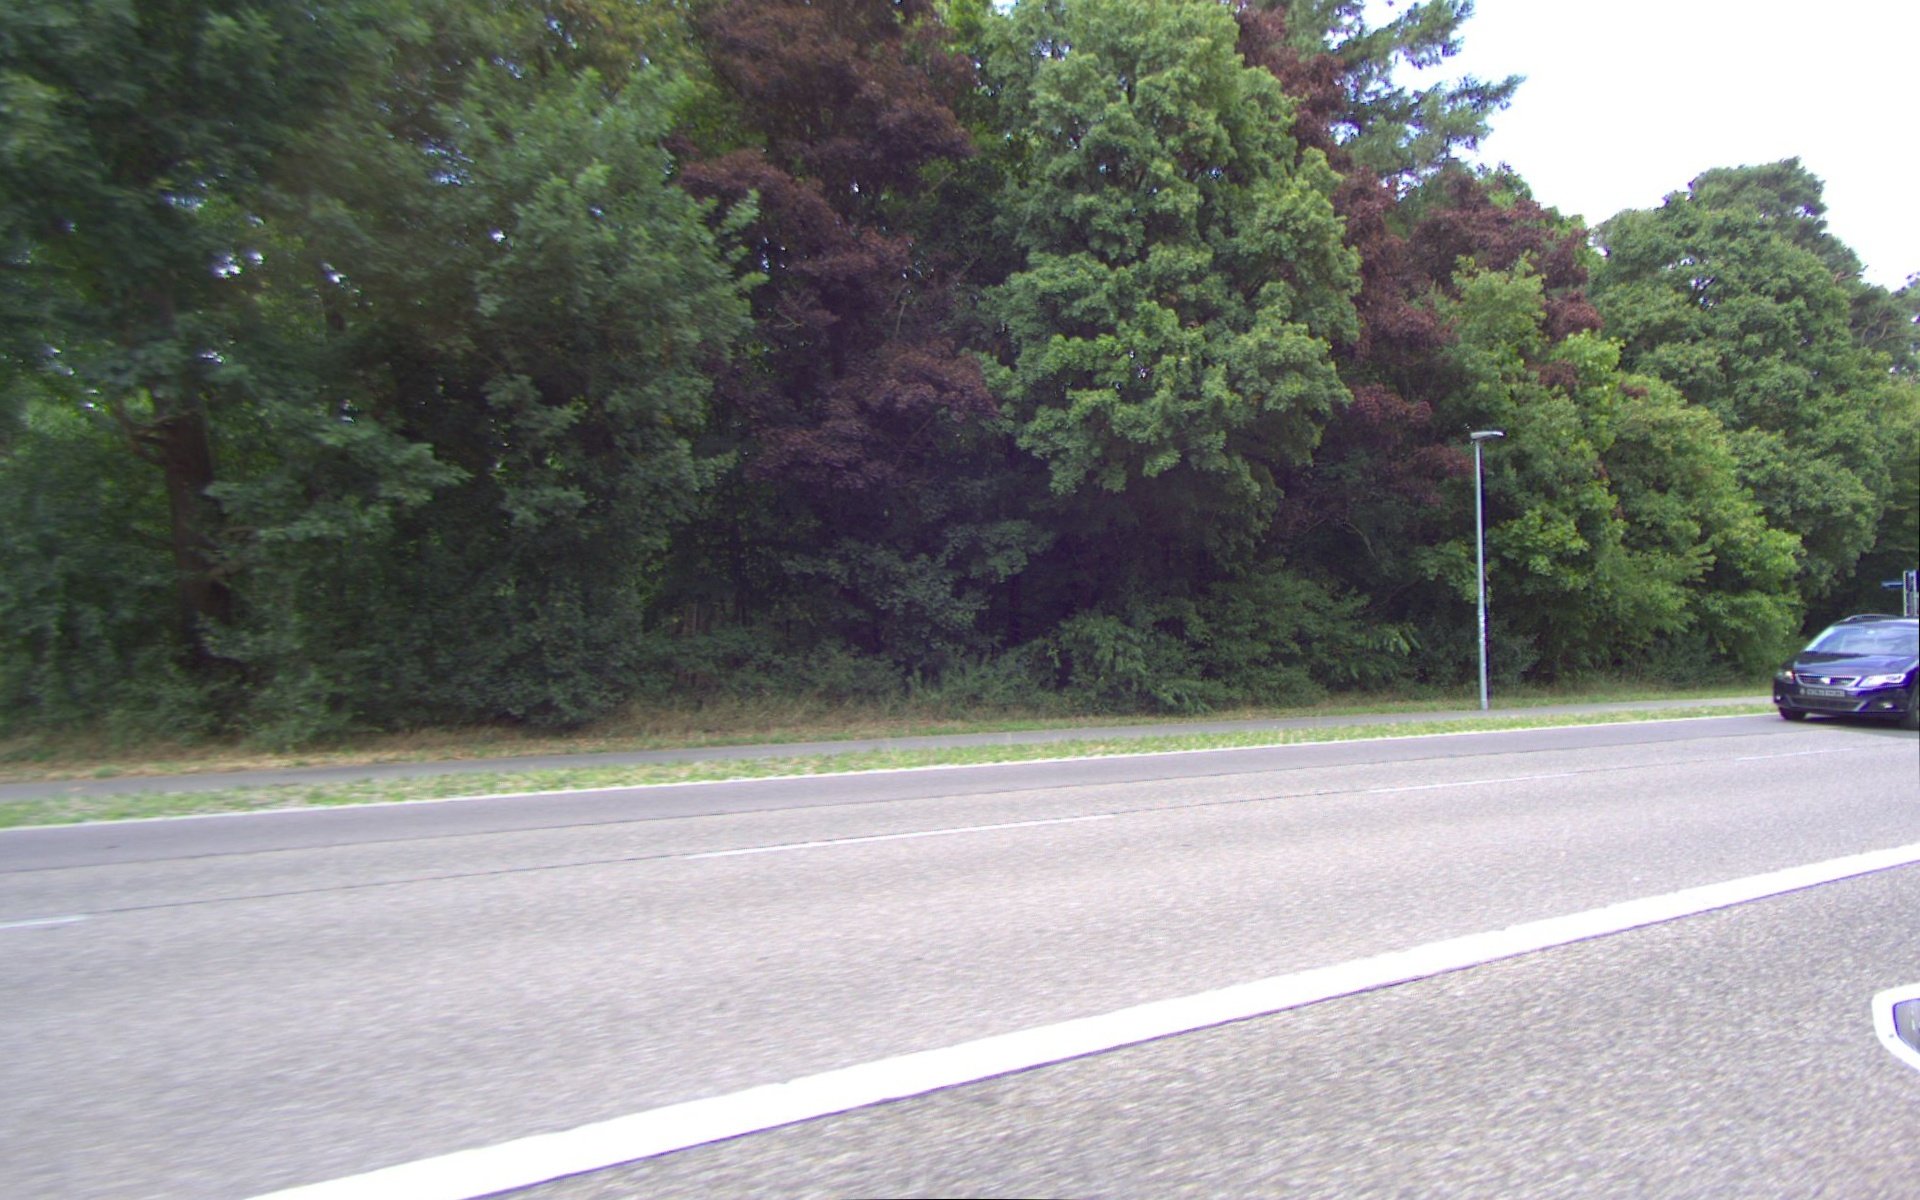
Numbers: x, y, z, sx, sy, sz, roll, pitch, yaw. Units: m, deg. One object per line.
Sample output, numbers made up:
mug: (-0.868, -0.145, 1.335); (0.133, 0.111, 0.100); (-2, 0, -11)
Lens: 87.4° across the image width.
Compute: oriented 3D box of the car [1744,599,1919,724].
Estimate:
car: (15.289, 1.000, 16.517); (4.687, 1.814, 1.987); (2, -3, -27)
